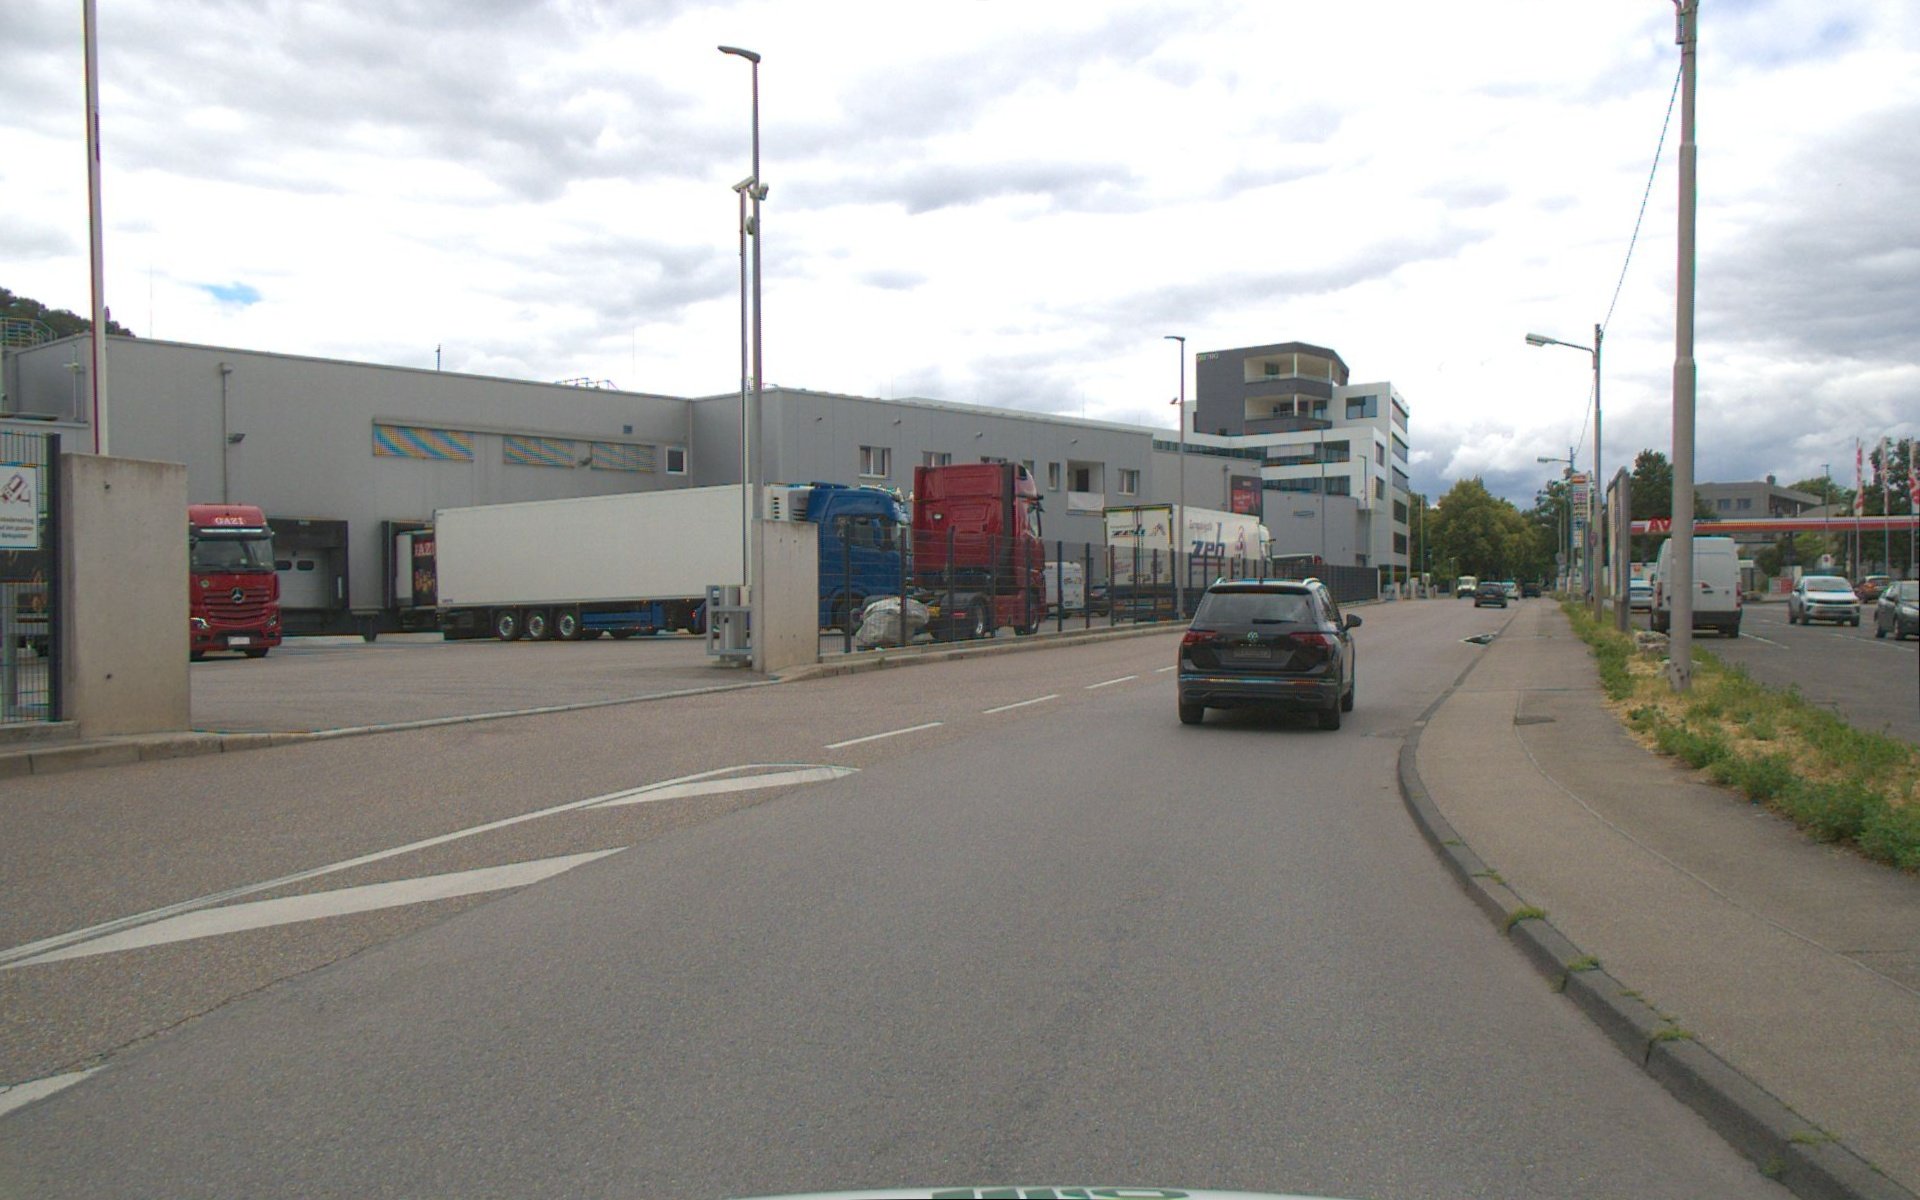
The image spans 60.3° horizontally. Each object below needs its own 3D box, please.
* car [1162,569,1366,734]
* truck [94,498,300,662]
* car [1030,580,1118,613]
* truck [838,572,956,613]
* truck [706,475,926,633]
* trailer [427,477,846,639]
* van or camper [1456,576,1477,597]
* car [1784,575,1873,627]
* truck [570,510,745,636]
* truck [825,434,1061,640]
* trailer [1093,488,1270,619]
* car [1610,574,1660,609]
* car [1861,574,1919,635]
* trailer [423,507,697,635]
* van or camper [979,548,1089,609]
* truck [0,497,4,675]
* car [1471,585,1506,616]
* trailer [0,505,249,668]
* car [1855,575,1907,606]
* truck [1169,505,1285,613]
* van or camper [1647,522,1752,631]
[{"bbox_3d":[3.702,0.502,19.534,1.951,1.713,4.374,0,1,16],"label":"car"},{"bbox_3d":[-20.062,-0.488,43.382,5.816,3.997,2.787,0,0,41],"label":"truck"},{"bbox_3d":[5.643,-0.161,81.918,3.925,1.579,1.990,0,0,40],"label":"car"},{"bbox_3d":[-2.713,-0.309,70.825,4.838,1.681,2.216,0,0,40],"label":"truck"},{"bbox_3d":[-3.828,-1.201,44.926,5.478,4.091,2.933,0,0,6],"label":"truck"},{"bbox_3d":[-9.753,-1.099,48.274,13.721,4.257,3.029,0,0,32],"label":"trailer"},{"bbox_3d":[55.194,-1.479,180.216,1.952,2.295,4.001,0,0,20],"label":"van or camper"},{"bbox_3d":[28.662,0.007,54.698,1.850,1.640,4.431,0,0,18],"label":"car"},{"bbox_3d":[-10.132,-0.862,55.160,5.819,3.997,2.786,0,0,42],"label":"truck"},{"bbox_3d":[-0.188,-1.274,36.601,2.861,4.090,6.942,0,0,21],"label":"truck"},{"bbox_3d":[8.943,-1.662,64.520,3.069,4.335,14.017,-4,-1,22],"label":"trailer"},{"bbox_3d":[30.002,-0.388,73.585,1.850,1.470,4.429,2,1,20],"label":"car"},{"bbox_3d":[24.475,0.116,42.144,1.850,1.470,4.431,2,1,18],"label":"car"},{"bbox_3d":[-14.597,-0.941,59.222,12.859,4.179,2.767,0,1,42],"label":"trailer"},{"bbox_3d":[3.468,-0.990,78.094,4.893,2.811,2.094,0,0,39],"label":"van or camper"},{"bbox_3d":[-24.569,-0.287,37.969,5.816,3.997,2.787,0,0,41],"label":"truck"},{"bbox_3d":[31.585,0.012,98.780,1.952,1.780,4.002,0,1,19],"label":"car"},{"bbox_3d":[-24.098,-0.329,46.880,10.792,4.149,2.777,0,0,40],"label":"trailer"},{"bbox_3d":[54.595,-0.563,98.106,1.952,1.735,4.002,0,0,18],"label":"car"},{"bbox_3d":[11.489,-1.679,70.549,3.065,4.188,6.940,-4,-1,23],"label":"truck"},{"bbox_3d":[19.623,-0.601,44.129,2.209,2.694,6.115,0,0,21],"label":"van or camper"}]
